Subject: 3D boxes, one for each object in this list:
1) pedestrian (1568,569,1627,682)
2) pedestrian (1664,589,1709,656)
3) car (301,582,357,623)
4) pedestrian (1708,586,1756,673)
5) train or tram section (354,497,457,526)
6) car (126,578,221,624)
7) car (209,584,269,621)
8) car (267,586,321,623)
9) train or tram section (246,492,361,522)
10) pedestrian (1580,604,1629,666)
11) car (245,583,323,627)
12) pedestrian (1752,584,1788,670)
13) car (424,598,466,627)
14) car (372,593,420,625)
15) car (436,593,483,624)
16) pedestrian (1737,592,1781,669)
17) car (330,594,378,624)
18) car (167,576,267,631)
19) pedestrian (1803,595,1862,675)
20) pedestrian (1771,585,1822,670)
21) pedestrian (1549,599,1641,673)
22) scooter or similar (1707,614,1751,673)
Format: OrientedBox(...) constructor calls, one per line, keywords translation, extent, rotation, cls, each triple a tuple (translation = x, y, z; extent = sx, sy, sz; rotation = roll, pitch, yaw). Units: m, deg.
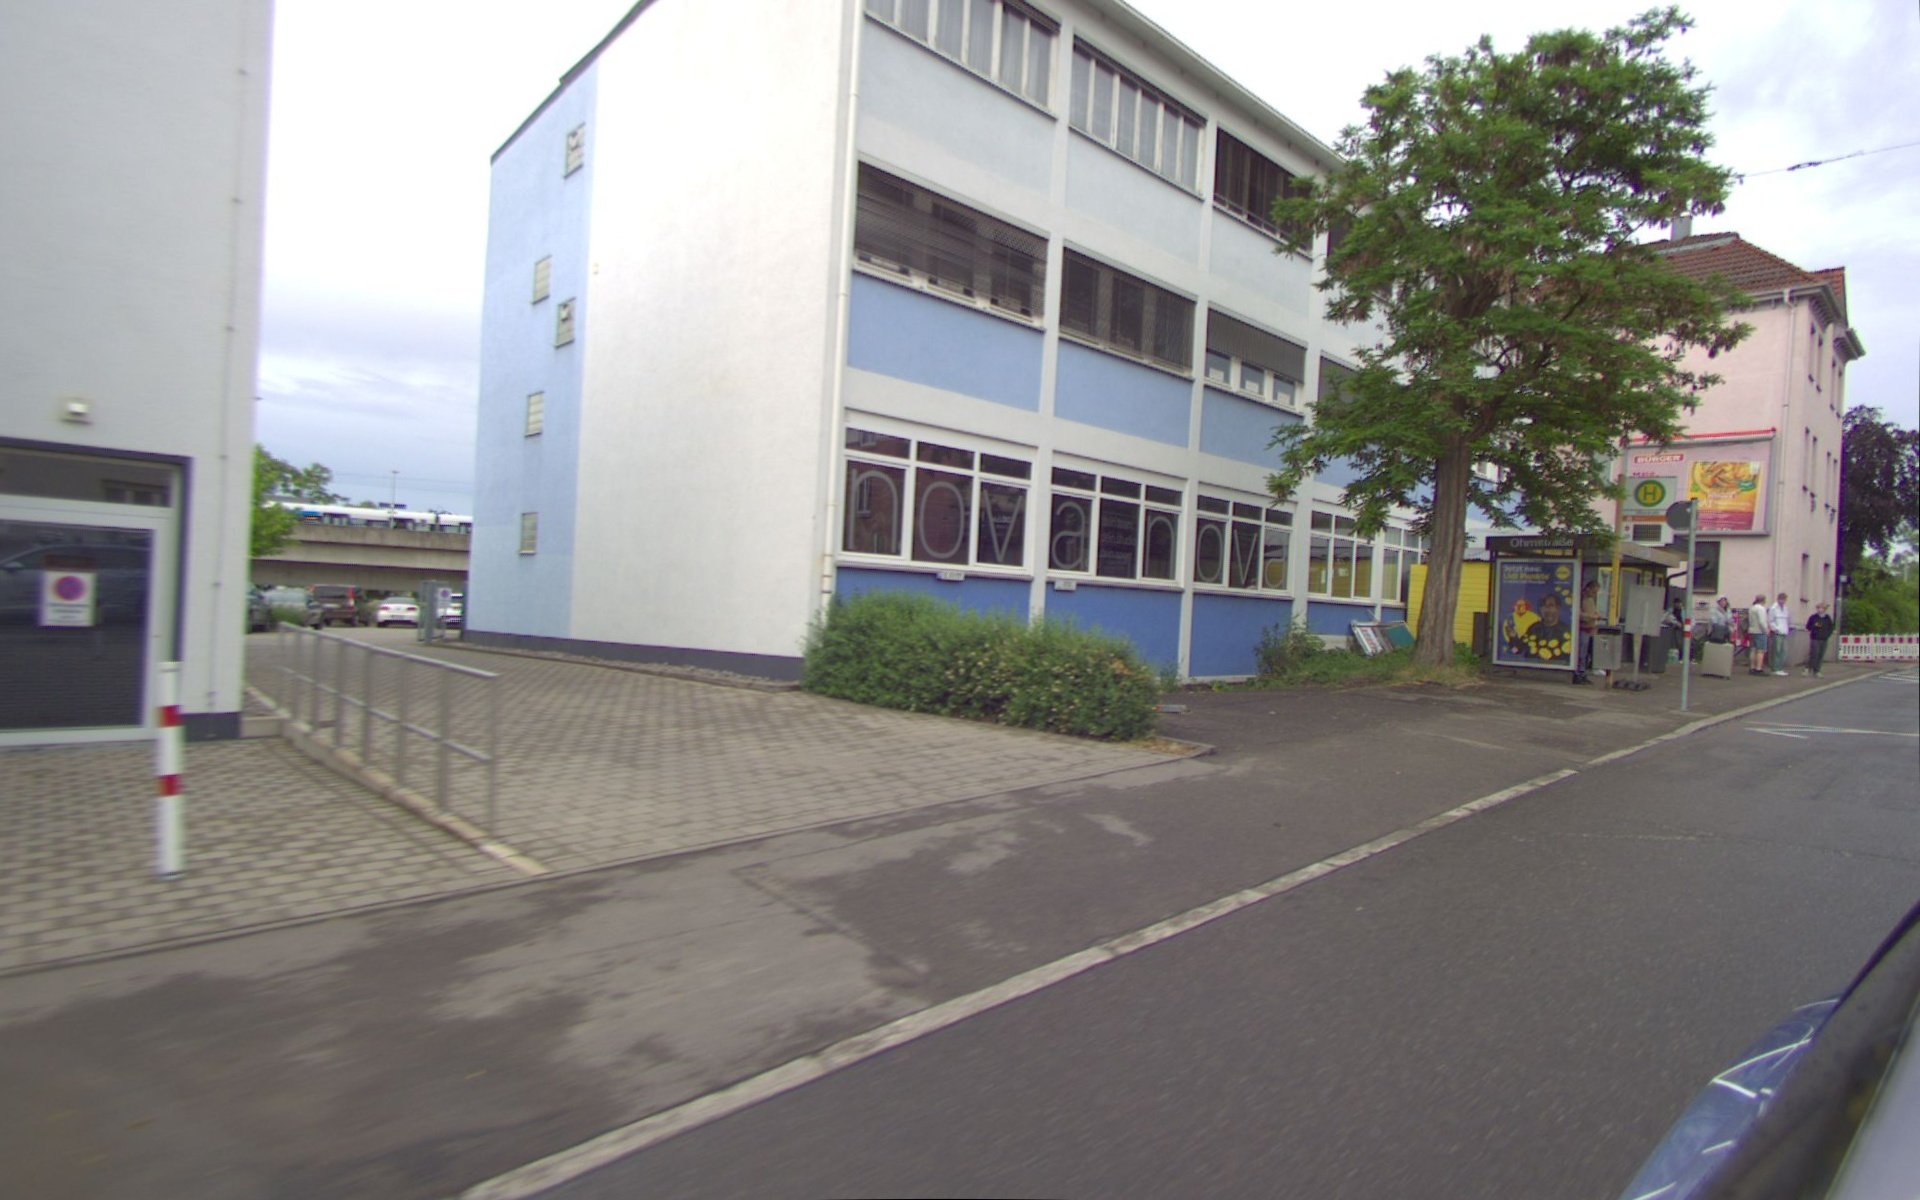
OrientedBox(translation=(10.941, 0.424, 17.366), extent=(0.646, 1.854, 0.730), rotation=(4, 2, 43), cls="pedestrian")
OrientedBox(translation=(18.693, 0.577, 26.064), extent=(0.667, 1.645, 0.621), rotation=(4, 2, 20), cls="pedestrian")
OrientedBox(translation=(-28.752, 0.143, 46.186), extent=(1.874, 1.776, 3.880), rotation=(1, -2, -28), cls="car")
OrientedBox(translation=(16.314, 0.603, 21.383), extent=(0.660, 1.763, 0.816), rotation=(4, 2, 43), cls="pedestrian")
OrientedBox(translation=(-47.916, -7.641, 87.682), extent=(7.576, 2.039, 2.004), rotation=(1, 1, -23), cls="train or tram section")
OrientedBox(translation=(-26.631, 0.087, 34.406), extent=(1.874, 1.452, 3.880), rotation=(1, -2, -28), cls="car")
OrientedBox(translation=(-34.852, 0.158, 49.013), extent=(1.874, 1.743, 3.880), rotation=(1, -2, -28), cls="car")
OrientedBox(translation=(-32.912, 0.247, 50.108), extent=(1.874, 1.743, 3.880), rotation=(1, -2, -28), cls="car")
OrientedBox(translation=(-54.817, -7.750, 84.727), extent=(7.784, 2.039, 2.004), rotation=(1, 1, -23), cls="train or tram section")
OrientedBox(translation=(13.253, 0.712, 20.809), extent=(0.660, 1.213, 0.730), rotation=(4, 2, 43), cls="pedestrian")
OrientedBox(translation=(-23.777, 0.213, 35.719), extent=(1.874, 1.452, 3.880), rotation=(1, -2, -28), cls="car")
OrientedBox(translation=(18.116, 0.602, 22.646), extent=(0.459, 1.863, 0.595), rotation=(6, 3, 43), cls="pedestrian")
OrientedBox(translation=(-26.839, 0.657, 52.682), extent=(1.874, 1.452, 3.880), rotation=(1, -2, -28), cls="car")
OrientedBox(translation=(-26.369, 0.461, 47.416), extent=(1.874, 1.452, 3.880), rotation=(1, -2, -28), cls="car")
OrientedBox(translation=(-24.056, 0.433, 48.564), extent=(1.874, 1.452, 3.880), rotation=(1, -2, -28), cls="car")
OrientedBox(translation=(18.434, 0.695, 23.351), extent=(0.545, 1.728, 0.449), rotation=(3, 2, -20), cls="pedestrian")
OrientedBox(translation=(-30.519, 0.497, 51.067), extent=(1.874, 1.452, 3.880), rotation=(1, -2, -28), cls="car")
OrientedBox(translation=(-22.400, 0.147, 30.662), extent=(1.874, 1.565, 3.880), rotation=(1, -2, -28), cls="car")
OrientedBox(translation=(19.984, 0.785, 23.202), extent=(0.627, 1.730, 0.746), rotation=(4, 2, 14), cls="pedestrian")
OrientedBox(translation=(19.245, 0.635, 23.290), extent=(0.619, 1.898, 0.489), rotation=(3, 2, -14), cls="pedestrian")
OrientedBox(translation=(12.296, 0.674, 19.614), extent=(1.355, 1.289, 0.730), rotation=(4, 2, 43), cls="pedestrian")
OrientedBox(translation=(15.864, 0.890, 20.880), extent=(0.618, 1.154, 0.559), rotation=(4, 2, 43), cls="scooter or similar")
